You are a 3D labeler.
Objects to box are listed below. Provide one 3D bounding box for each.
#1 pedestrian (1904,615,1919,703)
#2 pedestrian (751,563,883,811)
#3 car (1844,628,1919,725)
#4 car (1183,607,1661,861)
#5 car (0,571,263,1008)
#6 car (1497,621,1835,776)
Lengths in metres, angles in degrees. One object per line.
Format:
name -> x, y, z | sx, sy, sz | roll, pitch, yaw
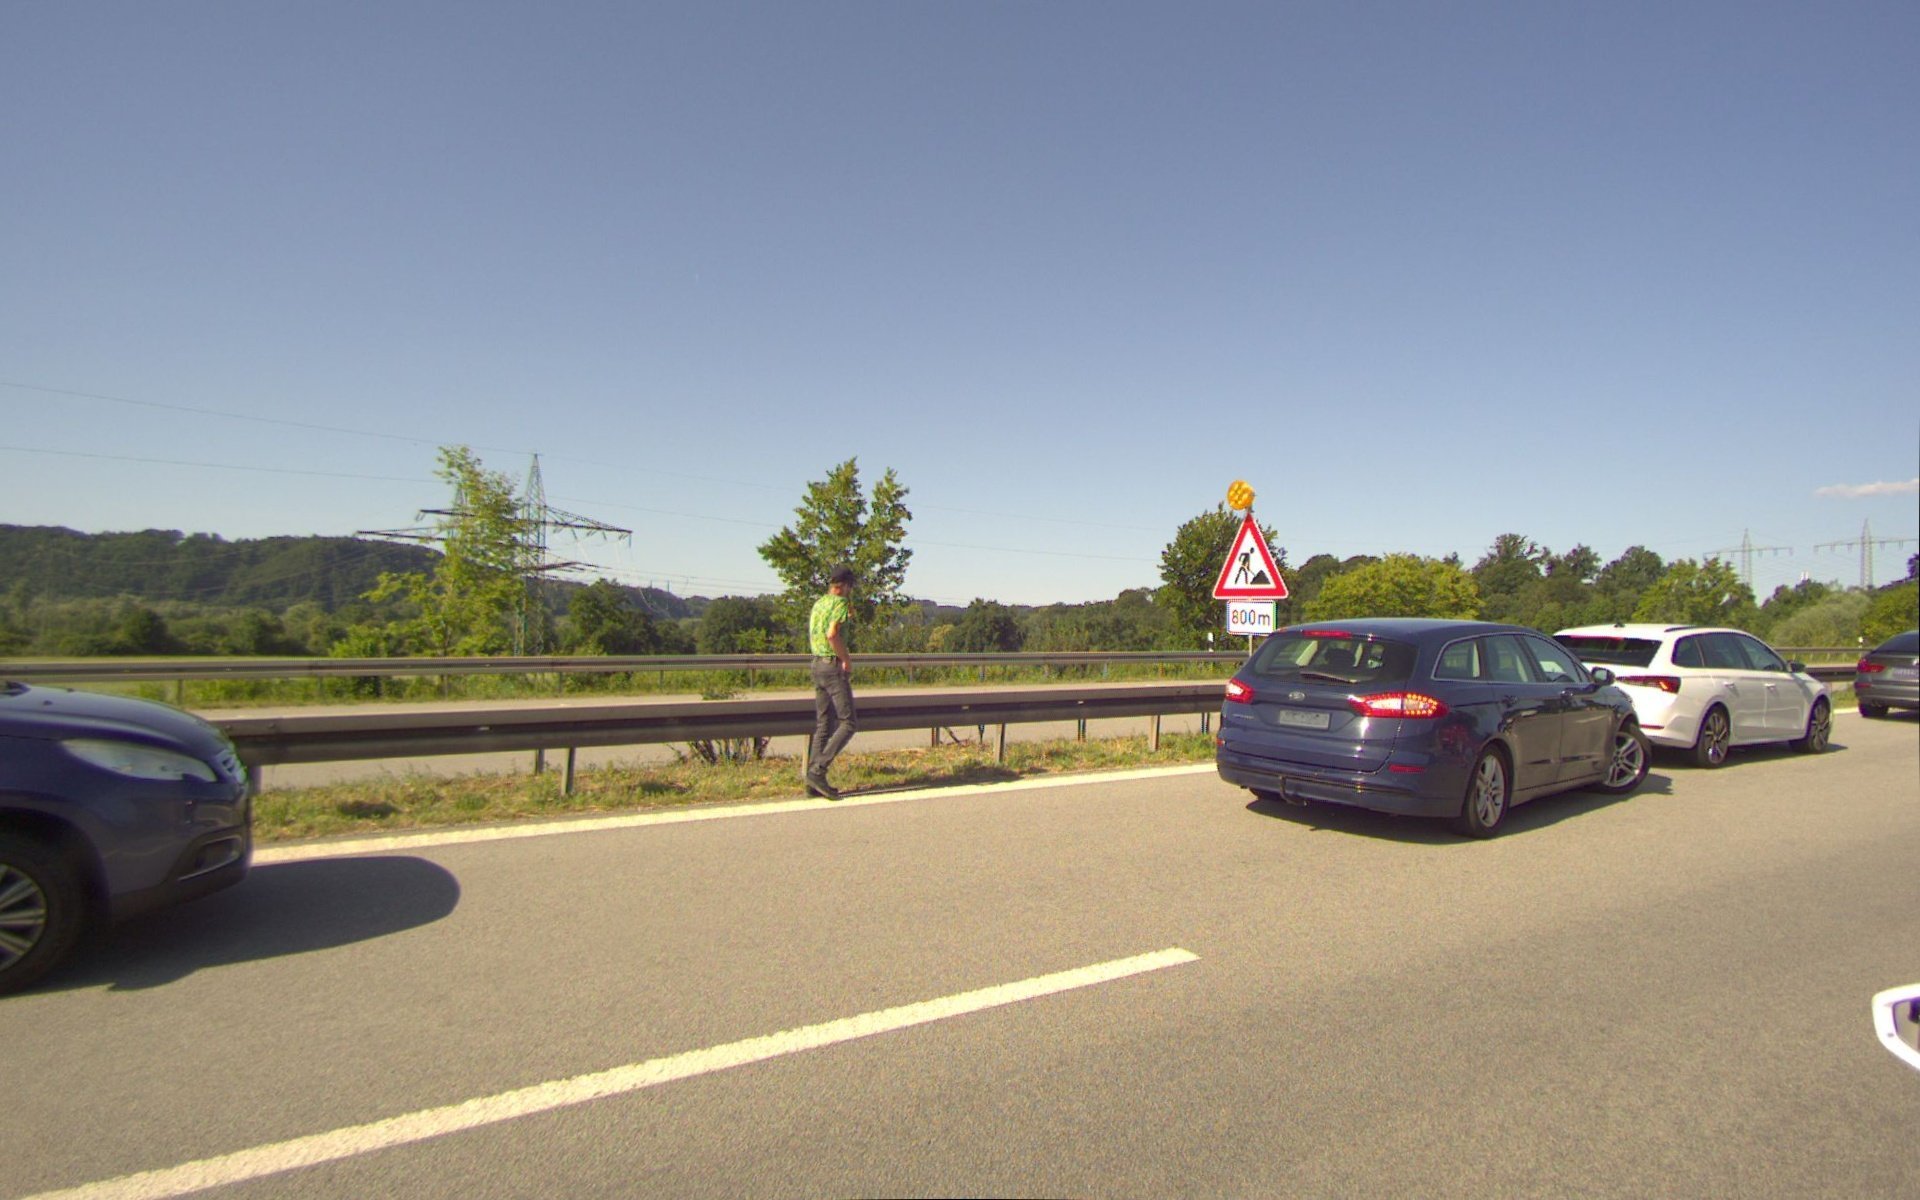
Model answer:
pedestrian -> 20.231, 1.212, 20.550 | 1.032, 1.786, 1.109 | 1, -2, -32
pedestrian -> -1.101, 0.634, 7.693 | 0.805, 1.773, 0.667 | 1, -1, -31
car -> 16.417, 1.223, 16.491 | 4.285, 1.445, 1.685 | 1, 0, -32
car -> 3.907, 0.864, 8.117 | 4.455, 1.513, 1.773 | 2, -2, -40
car -> -4.870, 0.635, 3.553 | 3.909, 1.555, 1.676 | 1, 0, -35
car -> 8.186, 1.013, 11.552 | 4.163, 1.461, 1.685 | 1, 0, -32
